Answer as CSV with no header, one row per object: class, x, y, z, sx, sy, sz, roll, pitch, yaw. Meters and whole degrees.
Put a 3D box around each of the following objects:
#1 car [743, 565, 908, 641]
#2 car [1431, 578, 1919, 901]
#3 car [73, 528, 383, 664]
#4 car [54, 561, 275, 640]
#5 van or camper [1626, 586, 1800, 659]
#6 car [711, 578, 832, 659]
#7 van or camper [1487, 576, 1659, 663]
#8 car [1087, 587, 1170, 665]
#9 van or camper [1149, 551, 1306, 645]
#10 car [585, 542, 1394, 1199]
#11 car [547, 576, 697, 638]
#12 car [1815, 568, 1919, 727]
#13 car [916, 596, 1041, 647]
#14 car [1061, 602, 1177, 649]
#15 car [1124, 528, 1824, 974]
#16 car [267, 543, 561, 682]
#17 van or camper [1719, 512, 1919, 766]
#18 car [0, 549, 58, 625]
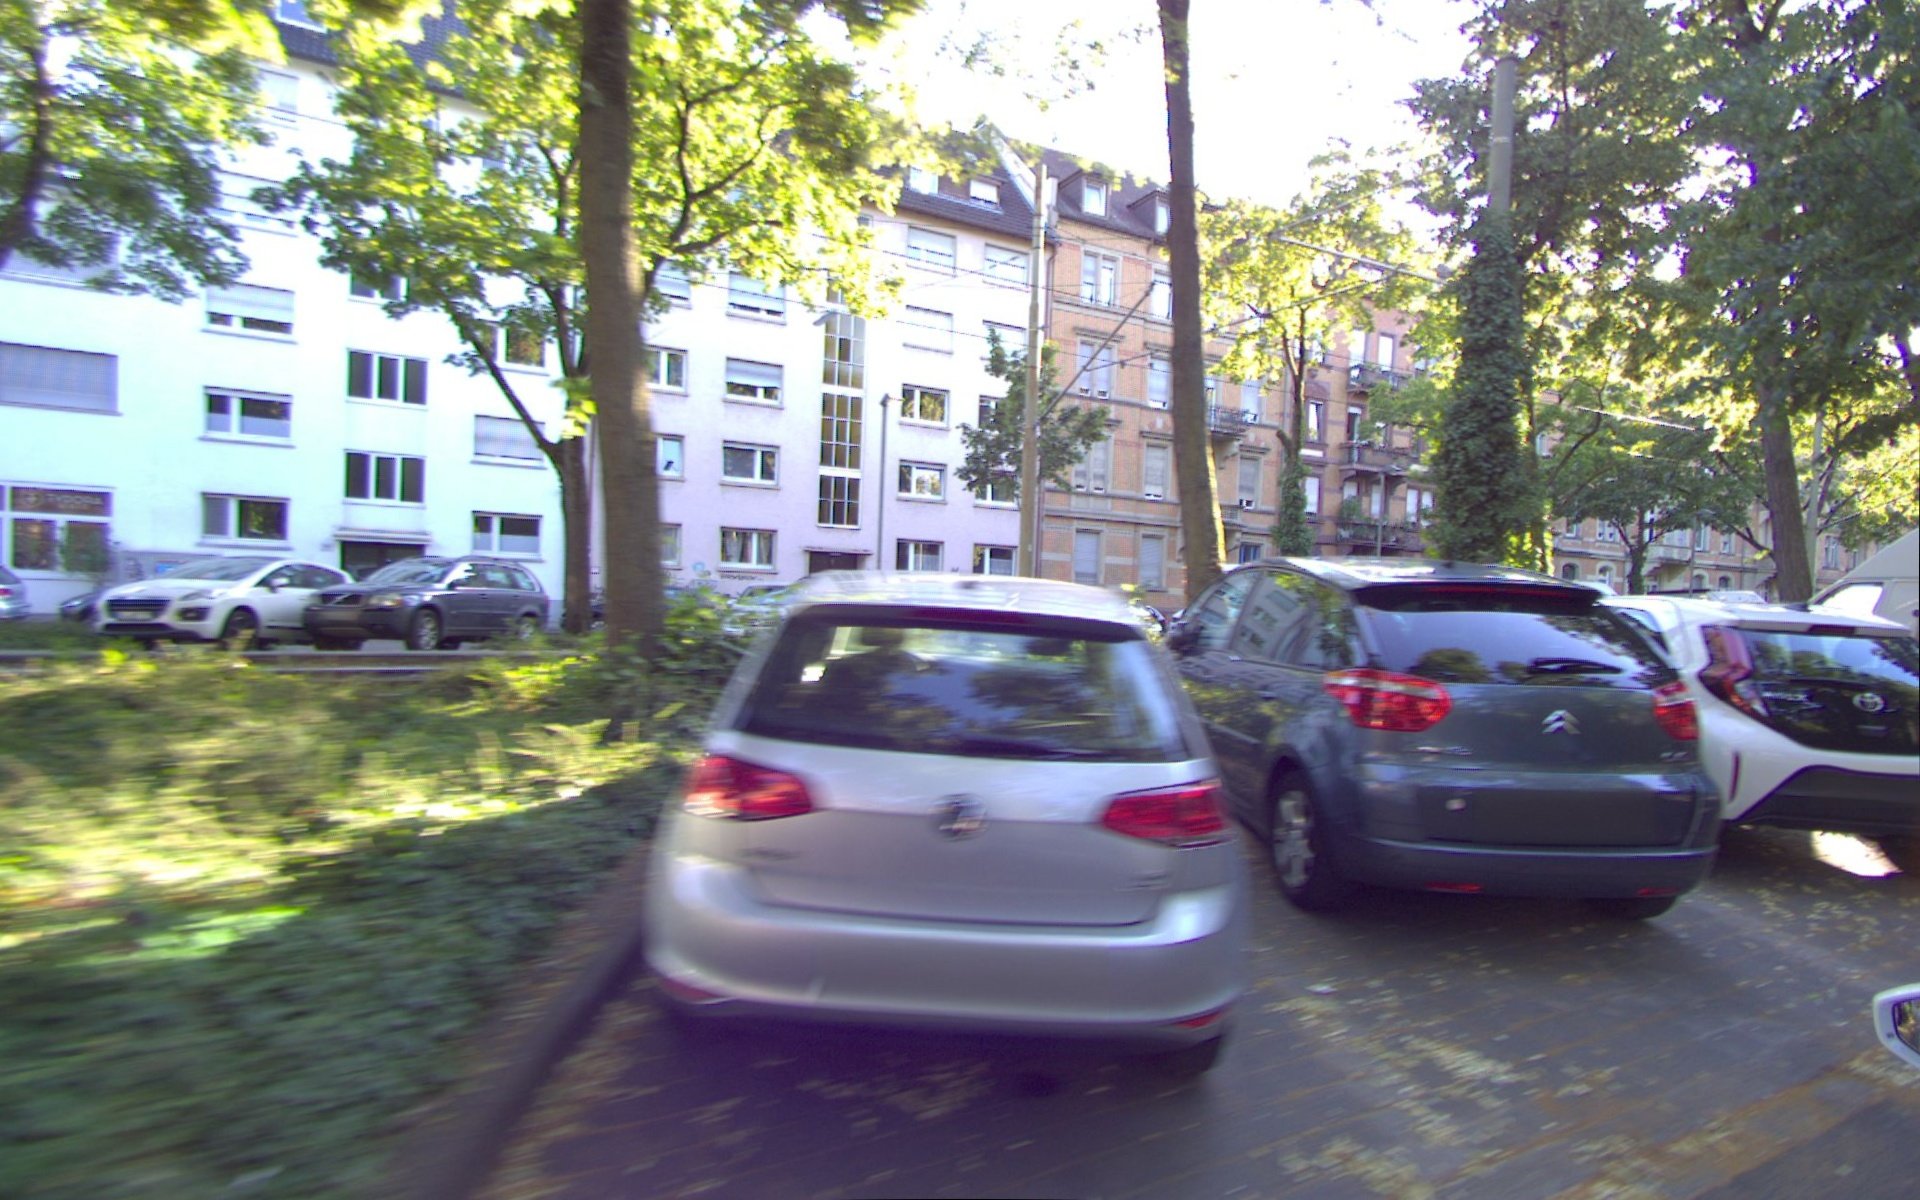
car,-3.903,0.093,29.251,4.361,2.021,1.843,1,3,-28
car,4.953,0.708,6.937,1.789,1.513,3.551,4,3,3
car,-11.449,-0.034,16.165,1.778,1.842,4.320,2,-1,0
car,-17.174,0.012,21.914,3.464,1.512,1.843,1,3,-28
van or camper,27.168,0.787,36.560,2.261,2.402,5.553,2,-1,2
car,-3.757,0.335,20.679,1.737,1.446,3.999,2,0,-1
van or camper,19.589,0.615,32.481,1.961,2.501,5.677,2,-1,-1
car,4.004,0.600,24.348,1.703,1.669,4.002,2,-1,6
van or camper,9.759,-0.047,36.567,5.445,3.150,2.066,2,1,-28
car,0.058,0.547,4.488,1.820,1.460,4.243,4,3,0
car,-8.855,0.180,26.279,3.464,1.423,1.843,1,3,-28
car,13.178,0.711,11.868,2.004,2.004,4.887,4,3,3
car,0.575,0.676,31.734,3.464,1.423,1.843,1,3,-28
car,5.398,0.862,34.116,3.464,1.423,1.843,1,3,-28
car,2.368,0.509,5.990,1.821,1.685,4.037,4,3,-3
car,-9.185,0.215,17.517,1.959,2.040,4.822,2,-1,8
van or camper,10.492,0.440,10.018,2.005,2.504,4.886,4,3,1
car,-20.694,-0.311,19.797,3.977,1.423,1.843,1,3,-28
